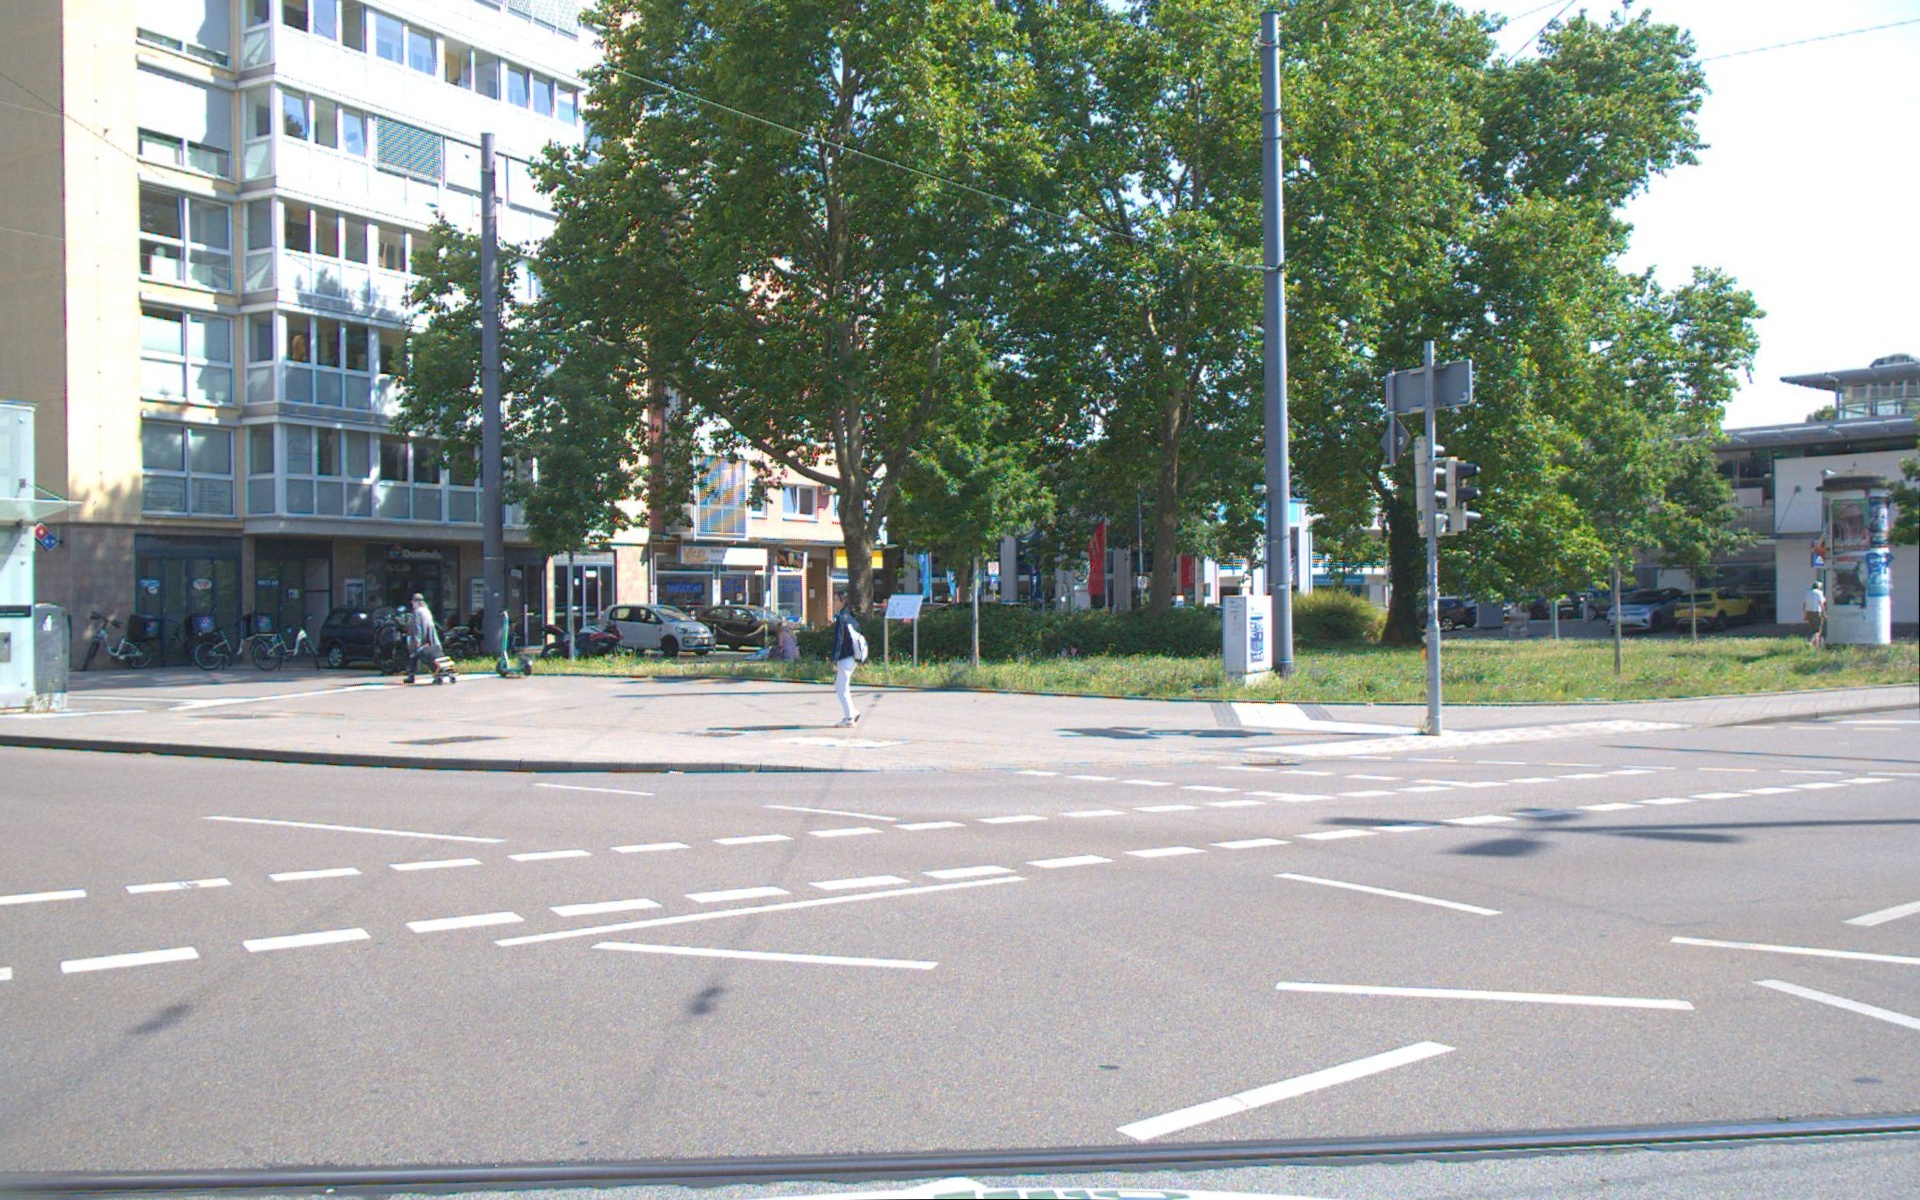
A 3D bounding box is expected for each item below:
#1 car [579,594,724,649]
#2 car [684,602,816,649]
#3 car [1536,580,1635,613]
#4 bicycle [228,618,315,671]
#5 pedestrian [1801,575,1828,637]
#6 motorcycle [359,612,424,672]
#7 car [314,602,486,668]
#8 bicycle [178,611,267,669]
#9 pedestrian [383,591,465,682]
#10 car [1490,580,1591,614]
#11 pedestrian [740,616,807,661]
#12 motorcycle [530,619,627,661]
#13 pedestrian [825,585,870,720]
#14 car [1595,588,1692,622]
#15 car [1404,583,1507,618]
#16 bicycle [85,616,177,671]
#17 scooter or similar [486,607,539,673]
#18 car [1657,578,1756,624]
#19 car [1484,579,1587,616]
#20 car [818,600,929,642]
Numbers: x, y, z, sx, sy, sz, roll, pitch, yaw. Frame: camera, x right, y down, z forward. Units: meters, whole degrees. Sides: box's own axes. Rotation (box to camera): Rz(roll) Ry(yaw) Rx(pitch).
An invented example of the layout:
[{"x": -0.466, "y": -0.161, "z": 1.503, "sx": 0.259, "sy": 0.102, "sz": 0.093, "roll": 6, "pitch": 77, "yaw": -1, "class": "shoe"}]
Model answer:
[{"x": -9.084, "y": 0.601, "z": 48.614, "sx": 3.913, "sy": 1.465, "sz": 1.887, "roll": 2, "pitch": 1, "yaw": 30, "class": "car"}, {"x": -6.662, "y": 0.781, "z": 52.430, "sx": 3.913, "sy": 1.292, "sz": 1.740, "roll": 2, "pitch": 1, "yaw": 30, "class": "car"}, {"x": 29.530, "y": -0.152, "z": 78.114, "sx": 1.986, "sy": 1.534, "sz": 3.934, "roll": -1, "pitch": 0, "yaw": -45, "class": "car"}, {"x": -15.505, "y": 1.000, "z": 37.274, "sx": 0.573, "sy": 1.105, "sz": 1.748, "roll": -1, "pitch": 1, "yaw": 39, "class": "bicycle"}, {"x": 22.424, "y": 0.154, "z": 43.416, "sx": 0.456, "sy": 1.623, "sz": 0.391, "roll": 1, "pitch": 1, "yaw": -20, "class": "pedestrian"}, {"x": -10.814, "y": 0.784, "z": 31.418, "sx": 0.633, "sy": 1.080, "sz": 2.012, "roll": -1, "pitch": 0, "yaw": -35, "class": "motorcycle"}, {"x": -13.419, "y": 0.850, "z": 39.590, "sx": 4.003, "sy": 1.496, "sz": 1.656, "roll": -1, "pitch": -3, "yaw": 30, "class": "car"}, {"x": -16.754, "y": 0.890, "z": 37.592, "sx": 0.573, "sy": 1.240, "sz": 1.748, "roll": -1, "pitch": 1, "yaw": 39, "class": "bicycle"}, {"x": -9.119, "y": 0.604, "z": 28.138, "sx": 1.092, "sy": 1.427, "sz": 0.657, "roll": 2, "pitch": 7, "yaw": 25, "class": "pedestrian"}, {"x": 26.880, "y": -0.128, "z": 76.640, "sx": 1.986, "sy": 1.534, "sz": 3.934, "roll": -1, "pitch": 0, "yaw": -45, "class": "car"}, {"x": -3.943, "y": 0.812, "z": 34.951, "sx": 1.149, "sy": 0.908, "sz": 0.821, "roll": -1, "pitch": 0, "yaw": 27, "class": "pedestrian"}, {"x": -8.226, "y": 0.866, "z": 35.754, "sx": 1.994, "sy": 0.856, "sz": 0.639, "roll": -1, "pitch": 0, "yaw": -10, "class": "motorcycle"}, {"x": -1.384, "y": 0.633, "z": 20.370, "sx": 0.443, "sy": 1.633, "sz": 0.400, "roll": 1, "pitch": 1, "yaw": 10, "class": "pedestrian"}, {"x": 27.419, "y": 0.173, "z": 66.313, "sx": 3.961, "sy": 1.266, "sz": 1.972, "roll": 0, "pitch": 2, "yaw": -39, "class": "car"}, {"x": 22.024, "y": 0.000, "z": 73.541, "sx": 1.985, "sy": 1.395, "sz": 3.936, "roll": 0, "pitch": 2, "yaw": -44, "class": "car"}, {"x": -19.005, "y": 0.980, "z": 37.952, "sx": 0.530, "sy": 1.206, "sz": 1.886, "roll": -1, "pitch": 0, "yaw": 31, "class": "bicycle"}, {"x": -7.914, "y": 0.695, "z": 29.222, "sx": 0.511, "sy": 1.139, "sz": 1.348, "roll": -1, "pitch": 0, "yaw": -33, "class": "scooter or similar"}, {"x": 29.282, "y": 0.019, "z": 64.874, "sx": 3.961, "sy": 1.713, "sz": 1.972, "roll": 0, "pitch": 1, "yaw": -39, "class": "car"}, {"x": 25.720, "y": -0.102, "z": 73.989, "sx": 1.986, "sy": 1.579, "sz": 3.934, "roll": -1, "pitch": 0, "yaw": -45, "class": "car"}, {"x": -3.121, "y": 0.741, "z": 59.612, "sx": 3.654, "sy": 1.363, "sz": 1.740, "roll": 2, "pitch": 1, "yaw": 30, "class": "car"}]
